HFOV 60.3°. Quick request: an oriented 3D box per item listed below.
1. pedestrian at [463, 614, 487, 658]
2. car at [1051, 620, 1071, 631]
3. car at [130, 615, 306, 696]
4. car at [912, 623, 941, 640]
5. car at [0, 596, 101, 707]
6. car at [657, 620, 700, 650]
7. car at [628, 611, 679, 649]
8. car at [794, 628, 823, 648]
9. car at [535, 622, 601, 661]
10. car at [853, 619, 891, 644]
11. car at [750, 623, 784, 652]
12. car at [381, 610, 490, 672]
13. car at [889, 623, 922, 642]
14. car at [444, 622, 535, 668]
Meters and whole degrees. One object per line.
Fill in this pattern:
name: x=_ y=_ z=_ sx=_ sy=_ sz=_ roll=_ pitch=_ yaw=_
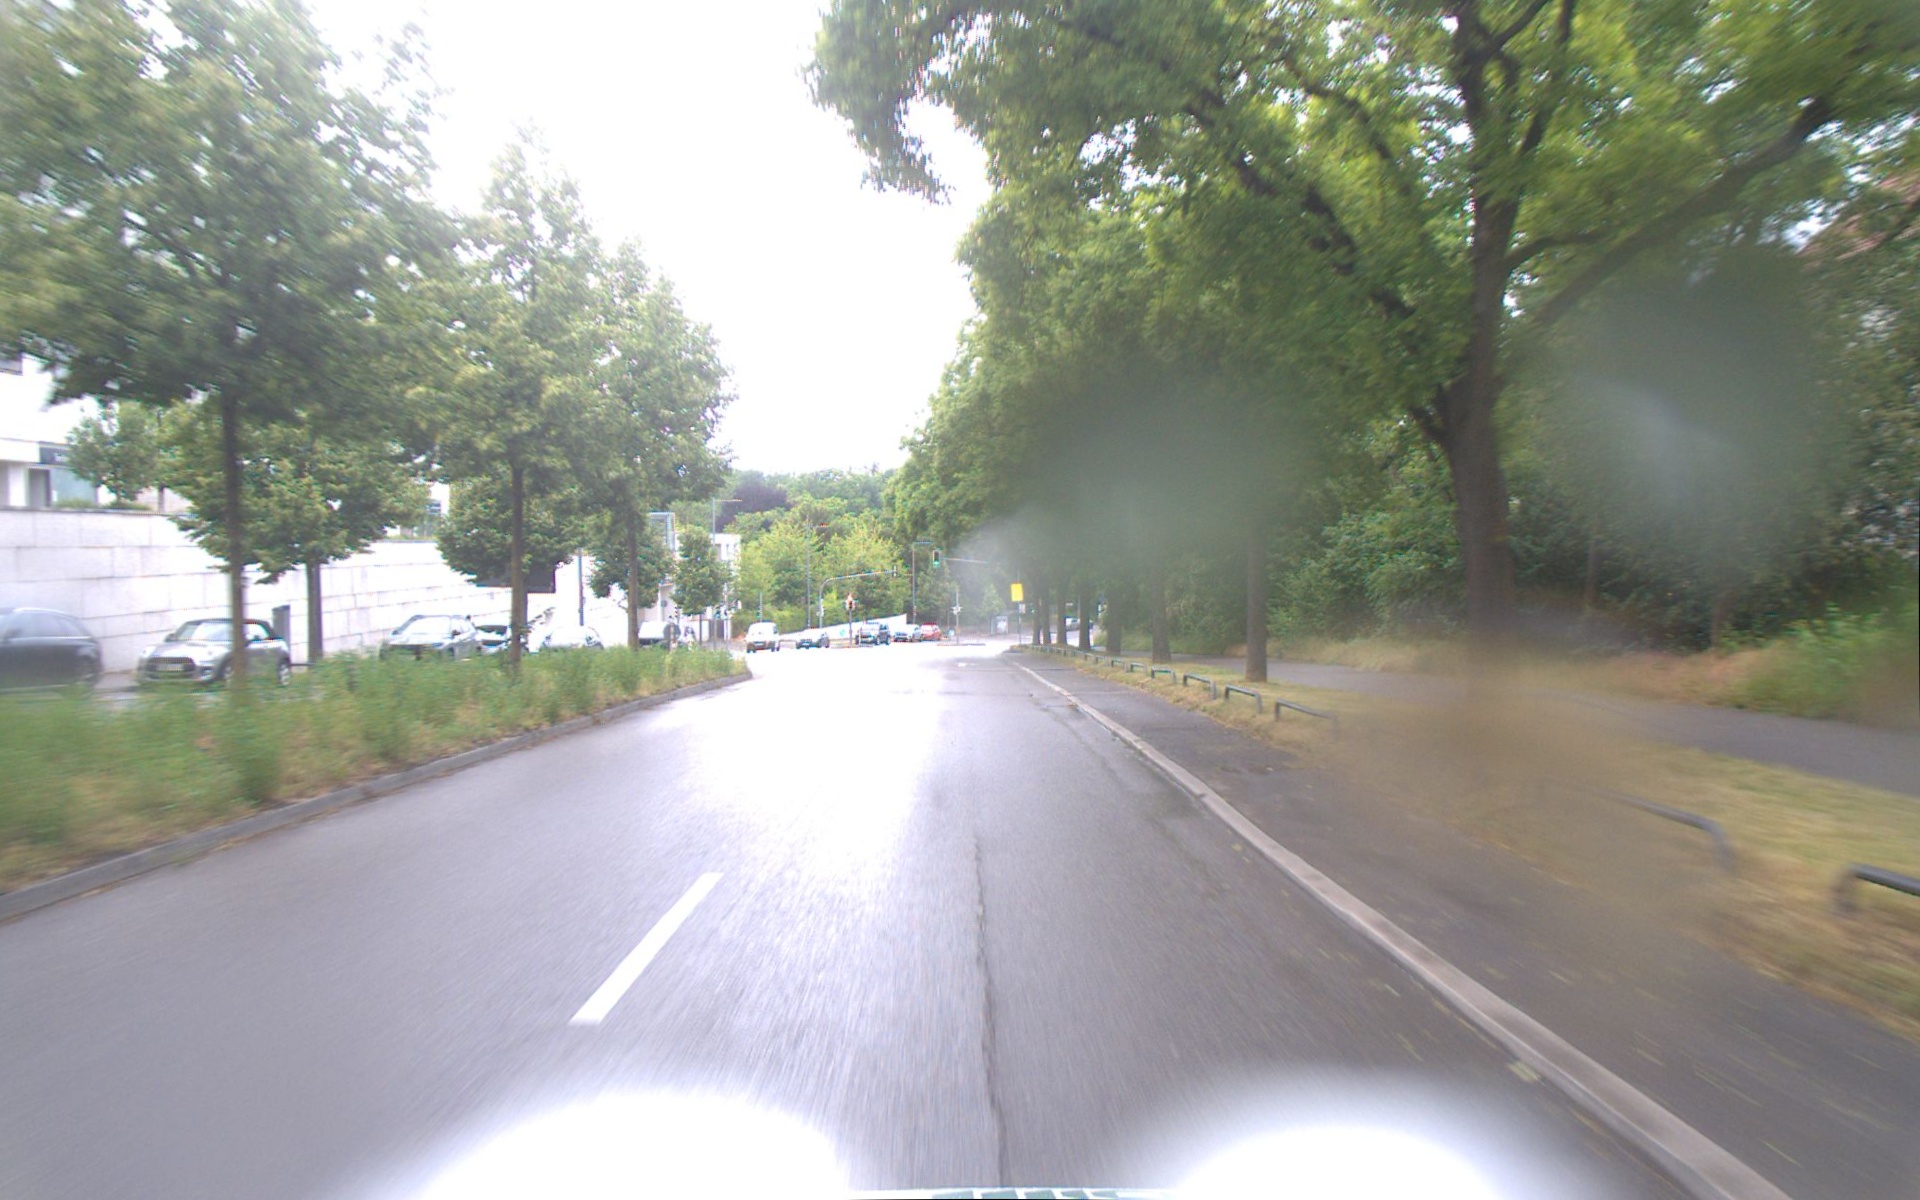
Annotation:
pedestrian: x=-20.190 y=1.509 z=68.833 sx=0.693 sy=1.806 sz=1.021 roll=-1 pitch=-1 yaw=-1
car: x=13.212 y=3.349 z=216.560 sx=1.677 sy=1.486 sz=3.751 roll=0 pitch=-1 yaw=18
car: x=-14.796 y=1.070 z=33.199 sx=1.660 sy=1.469 sz=3.860 roll=1 pitch=0 yaw=2
car: x=-3.332 y=3.163 z=165.167 sx=1.835 sy=1.602 sz=4.225 roll=2 pitch=-1 yaw=15
car: x=-14.697 y=0.743 z=24.648 sx=1.660 sy=1.609 sz=4.017 roll=0 pitch=-1 yaw=0
car: x=-14.970 y=1.878 z=88.143 sx=1.645 sy=1.541 sz=3.709 roll=1 pitch=-1 yaw=0
car: x=-15.188 y=1.498 z=82.168 sx=1.819 sy=1.812 sz=4.594 roll=-1 pitch=-1 yaw=-2
car: x=-11.005 y=2.763 z=120.328 sx=1.734 sy=1.405 sz=4.189 roll=-2 pitch=-1 yaw=0
car: x=-14.889 y=1.570 z=63.024 sx=1.645 sy=1.451 sz=3.963 roll=1 pitch=-1 yaw=-1
car: x=-7.333 y=2.635 z=138.735 sx=1.880 sy=1.889 sz=4.510 roll=-5 pitch=-1 yaw=13
car: x=-12.007 y=2.324 z=102.894 sx=1.675 sy=1.777 sz=4.336 roll=-1 pitch=-1 yaw=-1
car: x=-14.716 y=1.167 z=46.645 sx=1.668 sy=1.649 sz=4.361 roll=0 pitch=-2 yaw=0
car: x=-5.192 y=3.054 z=157.759 sx=1.814 sy=1.668 sz=4.096 roll=2 pitch=0 yaw=17
car: x=-14.872 y=1.411 z=52.470 sx=1.660 sy=1.384 sz=4.163 roll=0 pitch=-1 yaw=1
